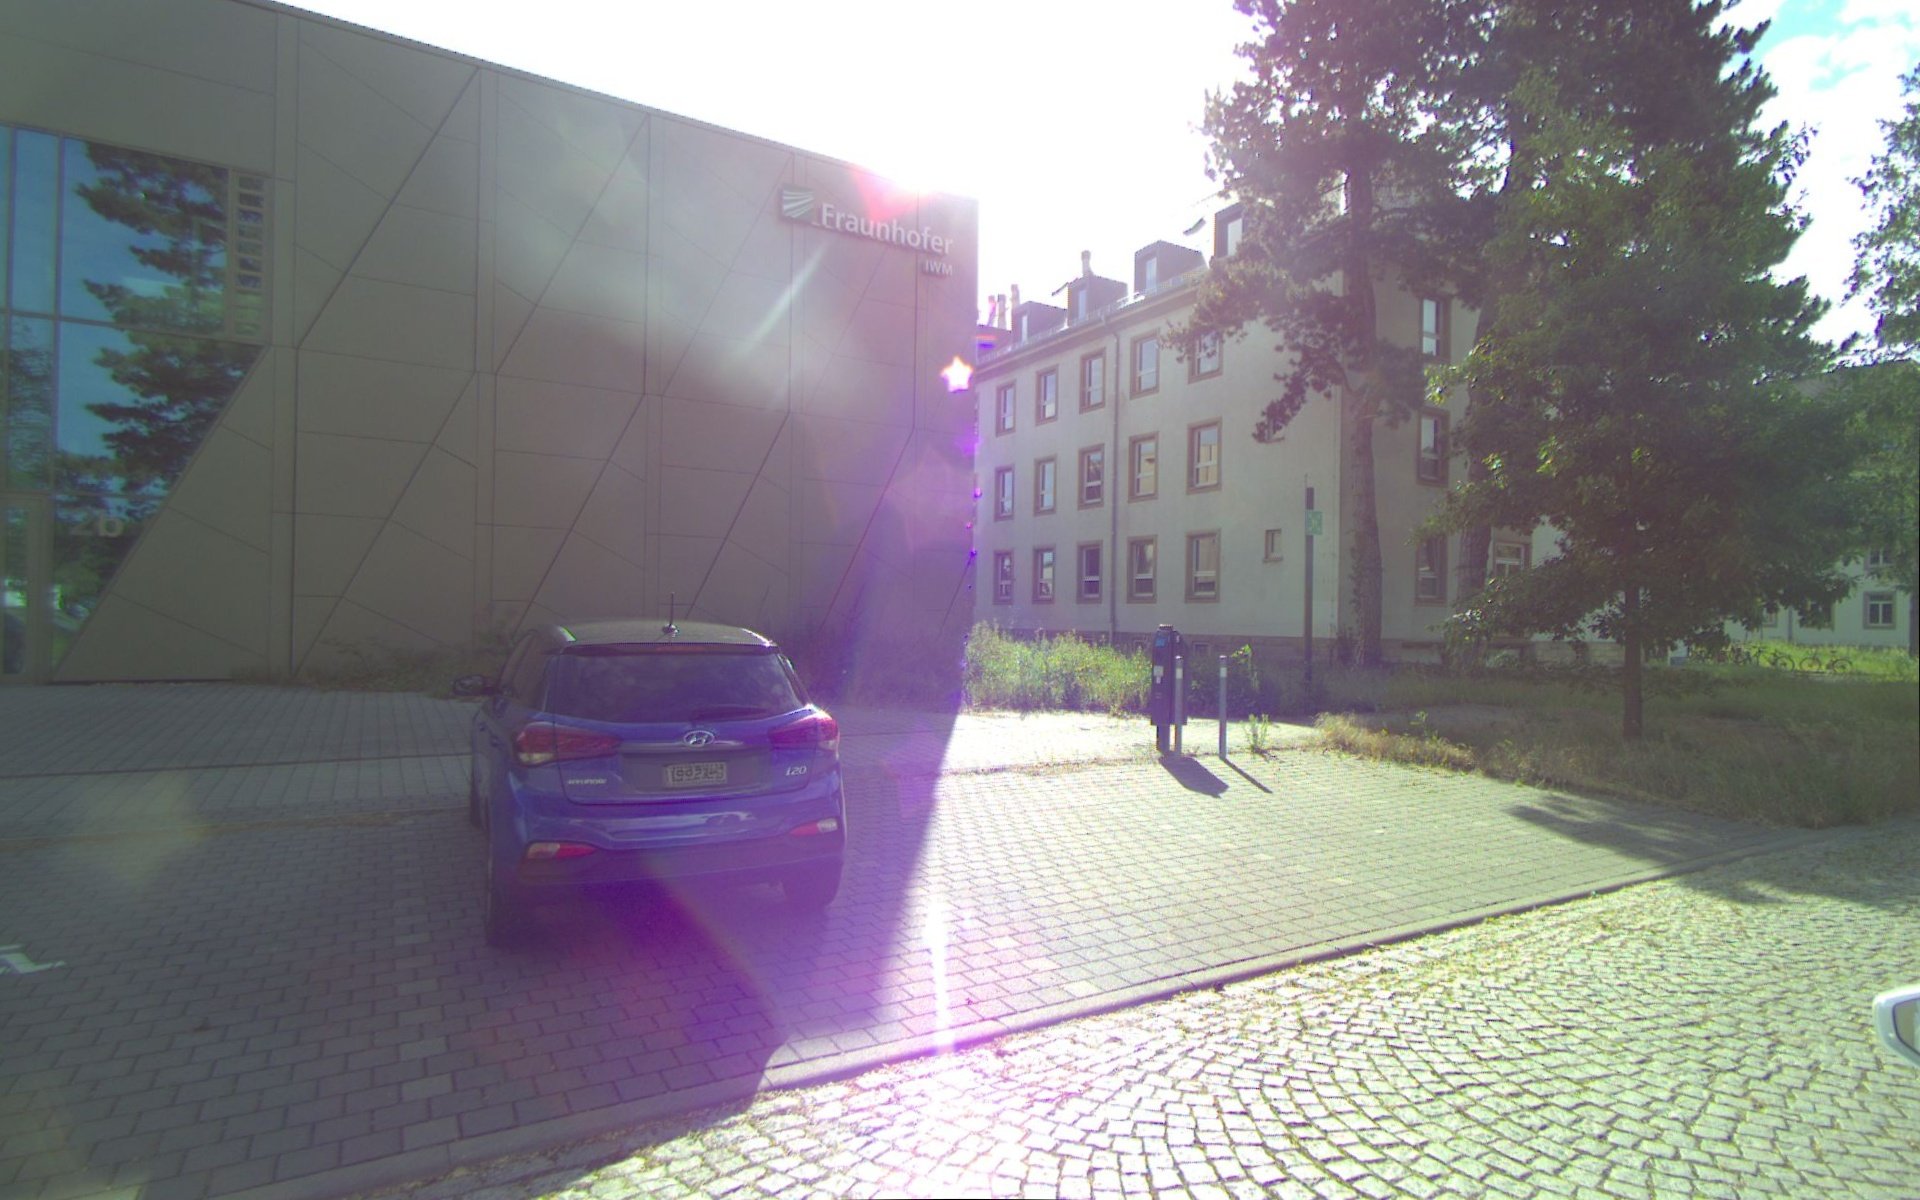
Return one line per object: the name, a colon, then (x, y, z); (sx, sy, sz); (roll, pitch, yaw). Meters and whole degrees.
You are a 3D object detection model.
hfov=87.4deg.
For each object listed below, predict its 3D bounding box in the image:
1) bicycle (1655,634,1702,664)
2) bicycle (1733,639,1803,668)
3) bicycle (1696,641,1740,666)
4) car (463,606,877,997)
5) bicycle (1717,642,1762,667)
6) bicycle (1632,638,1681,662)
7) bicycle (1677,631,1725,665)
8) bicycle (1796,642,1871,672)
bicycle: (32.344, 2.187, 45.200); (2.524, 1.298, 0.822); (2, -1, -31)
bicycle: (33.173, 2.194, 41.271); (0.820, 1.123, 2.104); (2, -1, -33)
bicycle: (33.084, 2.327, 43.825); (2.100, 1.061, 0.822); (2, -1, -31)
car: (-2.047, 0.849, 6.153); (1.698, 1.483, 3.820); (2, 0, -27)
bicycle: (33.507, 2.339, 43.171); (2.100, 1.061, 0.822); (2, -1, -31)
bicycle: (31.896, 2.292, 45.979); (2.524, 1.061, 0.896); (2, -1, -31)
bicycle: (32.984, 2.113, 44.687); (2.524, 1.456, 0.822); (2, -1, -31)
bicycle: (34.305, 2.225, 39.482); (0.820, 1.061, 2.104); (2, -1, -33)
